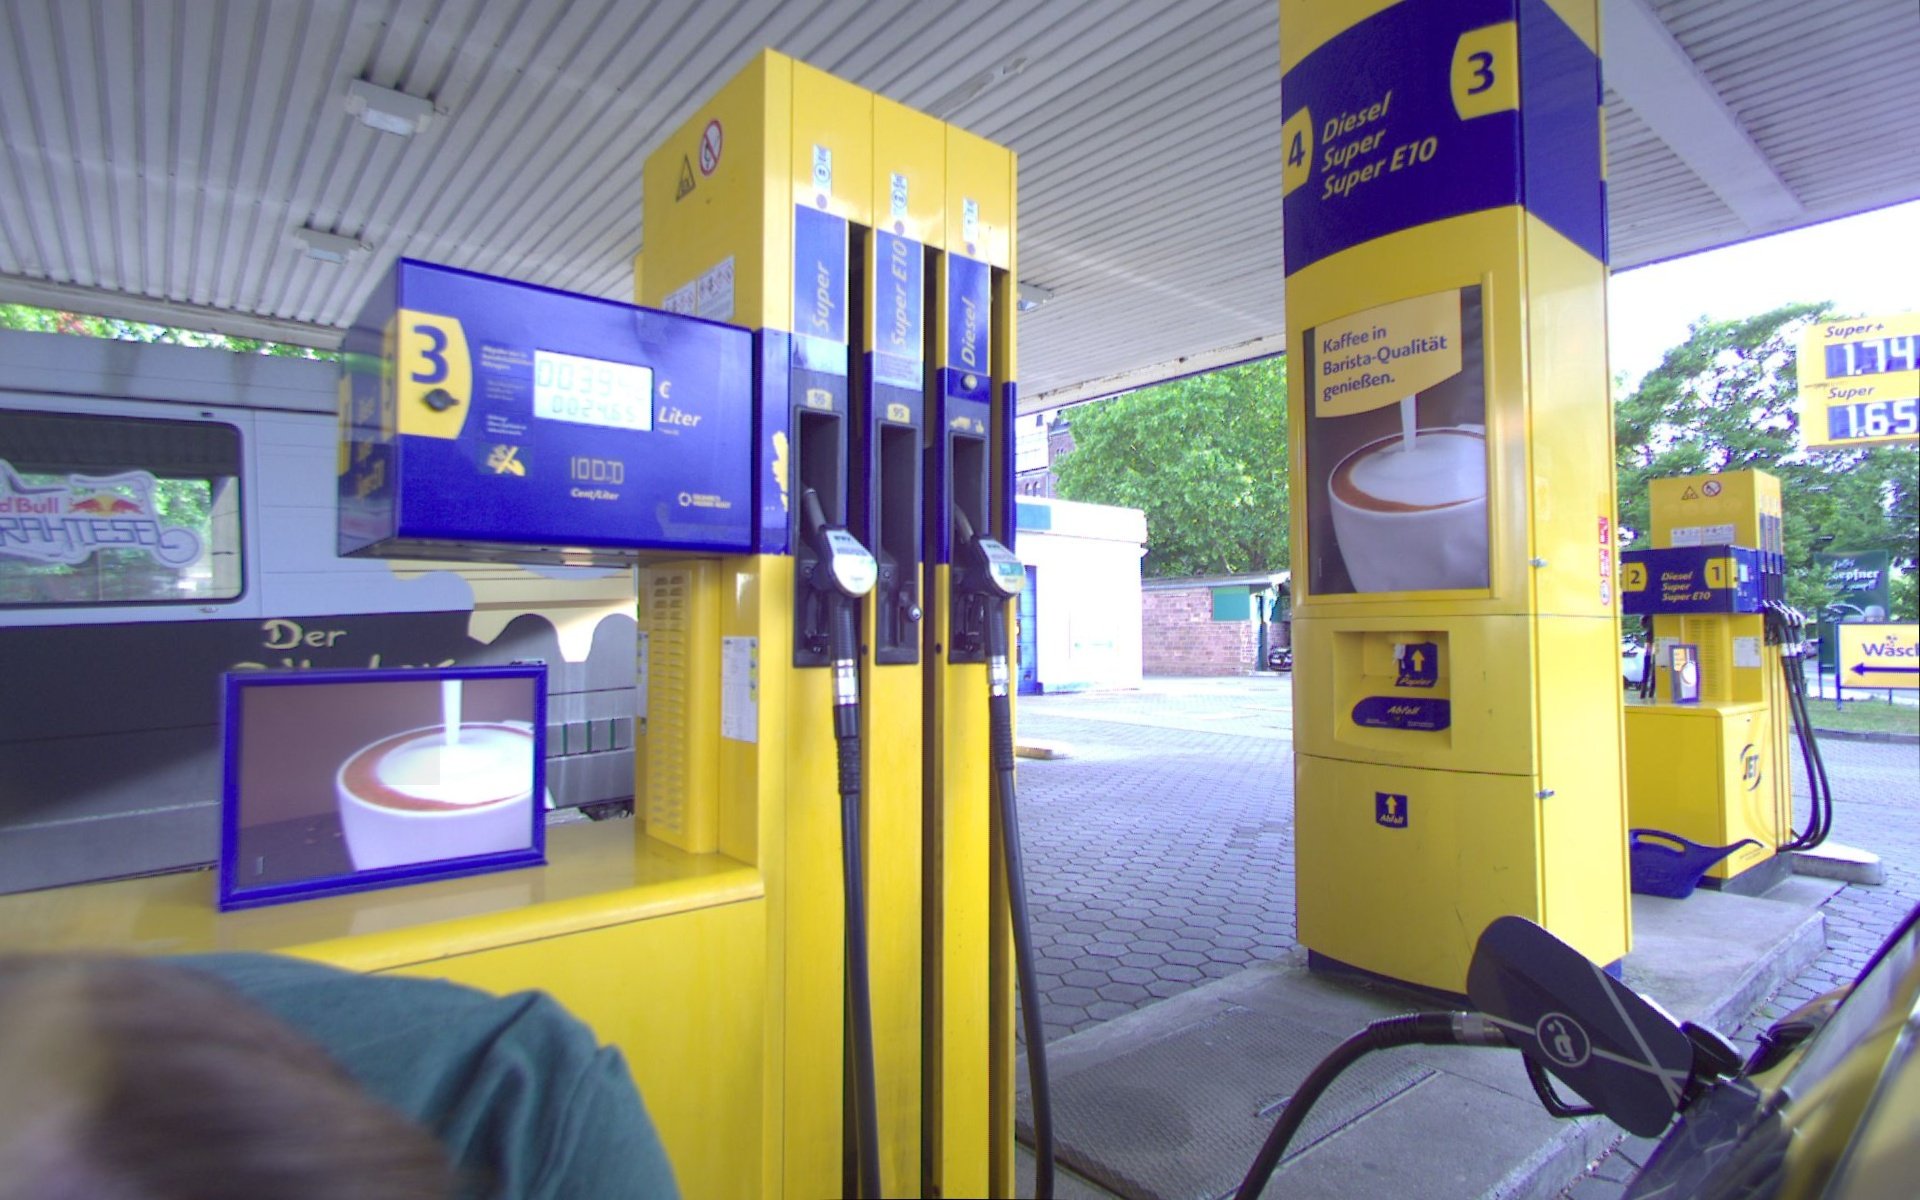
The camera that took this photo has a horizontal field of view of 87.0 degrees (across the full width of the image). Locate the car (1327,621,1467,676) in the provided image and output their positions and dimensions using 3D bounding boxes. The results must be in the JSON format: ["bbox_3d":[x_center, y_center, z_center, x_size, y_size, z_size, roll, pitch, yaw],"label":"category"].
[{"bbox_3d":[13.892,1.527,32.142,4.303,1.622,1.777,2,-1,-28],"label":"car"}]

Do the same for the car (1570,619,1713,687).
[{"bbox_3d":[18.361,1.443,27.208,4.308,1.622,1.774,4,-4,-35],"label":"car"}]

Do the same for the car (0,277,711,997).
[{"bbox_3d":[-4.106,0.157,4.900,5.197,2.726,2.258,1,-2,-39],"label":"car"}]

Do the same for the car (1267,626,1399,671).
[{"bbox_3d":[12.695,1.650,34.434,4.303,1.393,1.777,2,-1,-28],"label":"car"}]

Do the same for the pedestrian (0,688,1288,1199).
[{"bbox_3d":[-0.331,0.746,0.553,0.662,1.298,0.751,0,0,-41],"label":"pedestrian"}]

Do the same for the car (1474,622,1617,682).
[{"bbox_3d":[17.851,1.586,30.807,4.303,1.622,1.776,4,-4,-28],"label":"car"}]
